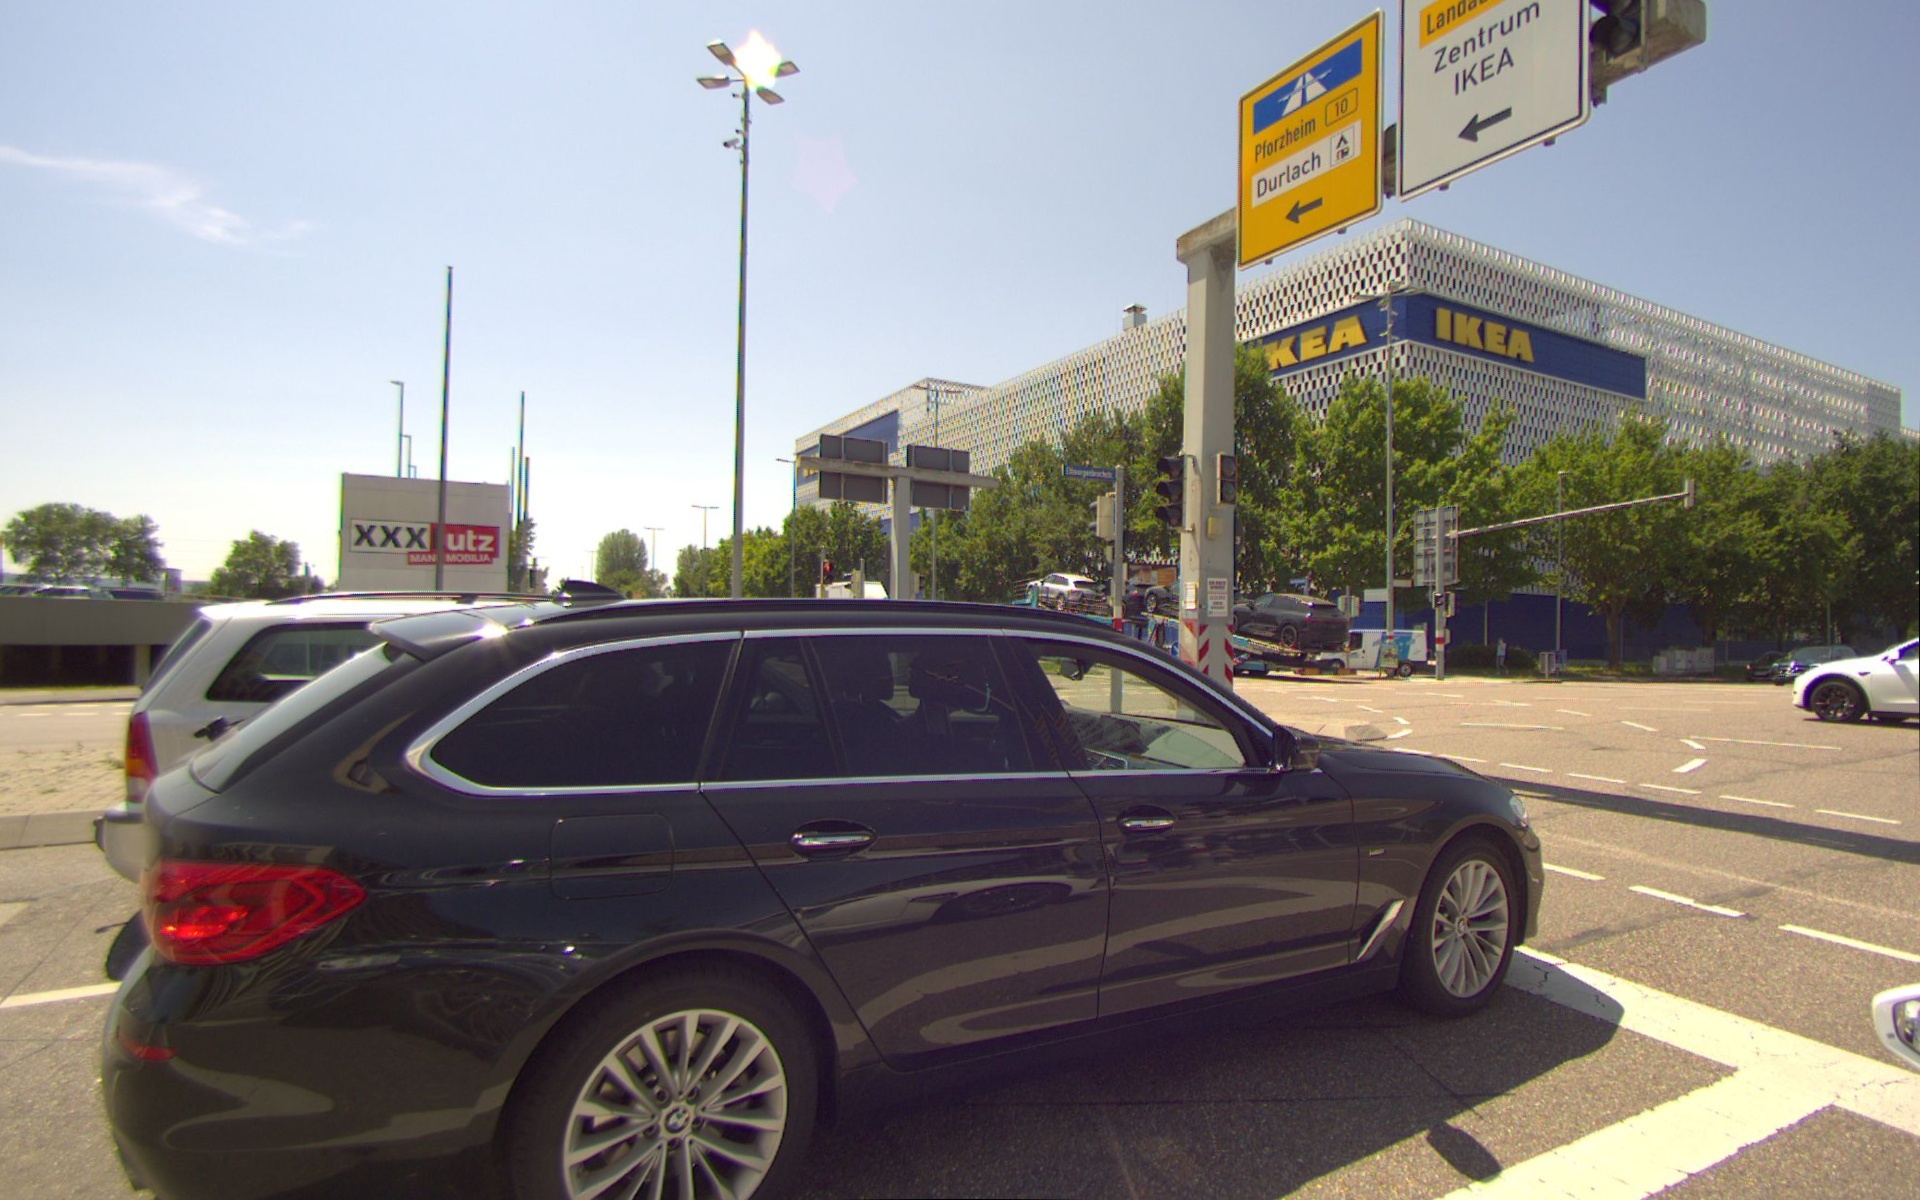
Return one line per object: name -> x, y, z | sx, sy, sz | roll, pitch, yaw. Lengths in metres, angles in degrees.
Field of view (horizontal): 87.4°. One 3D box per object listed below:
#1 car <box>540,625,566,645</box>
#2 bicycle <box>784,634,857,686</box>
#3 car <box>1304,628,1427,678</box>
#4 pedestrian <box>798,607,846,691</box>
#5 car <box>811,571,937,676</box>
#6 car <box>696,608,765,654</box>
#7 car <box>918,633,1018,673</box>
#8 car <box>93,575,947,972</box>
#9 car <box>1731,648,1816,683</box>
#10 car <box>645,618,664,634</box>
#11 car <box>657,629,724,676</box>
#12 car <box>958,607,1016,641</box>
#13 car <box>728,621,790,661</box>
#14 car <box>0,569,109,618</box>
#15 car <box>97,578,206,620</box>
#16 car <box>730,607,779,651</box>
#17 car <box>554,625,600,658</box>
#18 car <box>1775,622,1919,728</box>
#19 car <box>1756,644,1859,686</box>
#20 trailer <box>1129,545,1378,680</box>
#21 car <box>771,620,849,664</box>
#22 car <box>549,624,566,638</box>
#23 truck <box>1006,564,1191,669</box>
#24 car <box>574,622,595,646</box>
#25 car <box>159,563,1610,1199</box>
car -> -36.539, 3.146, 90.163 | 1.718, 1.708, 3.642 | 2, -2, -28
bicycle -> -3.504, 1.466, 25.083 | 0.987, 1.229, 2.079 | 2, -2, -35
car -> 17.776, 2.317, 44.200 | 4.668, 2.034, 2.002 | 1, -2, 6
pedestrian -> -3.425, 1.218, 24.975 | 0.856, 2.040, 0.899 | 1, -2, -35
car -> -3.382, 0.865, 37.557 | 2.156, 3.532, 6.875 | 0, -1, -28
car -> -13.790, 1.886, 60.060 | 2.542, 2.568, 6.587 | 2, -2, -26
car -> 0.231, 1.879, 36.654 | 1.756, 1.360, 4.262 | 1, -2, -30
car -> -2.205, 0.718, 5.739 | 3.961, 1.514, 1.785 | 2, -1, -36
car -> 40.736, 3.267, 50.285 | 3.701, 1.553, 1.767 | 3, -2, -23
car -> -40.266, 3.410, 132.277 | 1.971, 2.040, 3.979 | 2, -2, -22
car -> -9.417, 1.781, 34.881 | 1.904, 1.528, 3.982 | 1, -2, -20
car -> 1.692, 1.486, 63.967 | 1.974, 2.040, 3.972 | 2, -1, -27
car -> -10.641, 2.148, 52.979 | 1.975, 2.040, 4.681 | 2, -2, -27
car -> -39.137, -0.237, 42.841 | 3.953, 1.957, 1.984 | 2, -2, -30
car -> -40.229, -0.006, 50.111 | 3.956, 1.933, 1.983 | 2, -2, -32
car -> -13.249, 1.861, 64.658 | 2.032, 2.665, 4.652 | 0, -2, -26
car -> -24.062, 2.592, 63.071 | 1.815, 2.040, 3.963 | 2, -2, -34
car -> 15.747, 1.179, 15.425 | 1.972, 1.609, 4.668 | 2, -2, -24
car -> 34.664, 2.652, 41.071 | 4.444, 1.619, 1.866 | 2, -3, -30
trailer -> 9.996, 0.563, 35.770 | 3.052, 4.135, 9.587 | 2, -2, -24
car -> -6.801, 1.860, 45.007 | 1.973, 1.835, 5.438 | 1, -2, -25
car -> -62.553, 4.796, 156.053 | 1.906, 2.040, 3.971 | 2, -2, -28
truck -> 5.832, 0.847, 44.996 | 3.058, 4.136, 10.590 | 2, -2, -24
car -> -32.201, 2.877, 86.119 | 1.594, 2.040, 3.863 | 1, -2, -20
car -> 0.194, 0.734, 3.609 | 4.570, 1.485, 1.791 | 1, -1, -31
